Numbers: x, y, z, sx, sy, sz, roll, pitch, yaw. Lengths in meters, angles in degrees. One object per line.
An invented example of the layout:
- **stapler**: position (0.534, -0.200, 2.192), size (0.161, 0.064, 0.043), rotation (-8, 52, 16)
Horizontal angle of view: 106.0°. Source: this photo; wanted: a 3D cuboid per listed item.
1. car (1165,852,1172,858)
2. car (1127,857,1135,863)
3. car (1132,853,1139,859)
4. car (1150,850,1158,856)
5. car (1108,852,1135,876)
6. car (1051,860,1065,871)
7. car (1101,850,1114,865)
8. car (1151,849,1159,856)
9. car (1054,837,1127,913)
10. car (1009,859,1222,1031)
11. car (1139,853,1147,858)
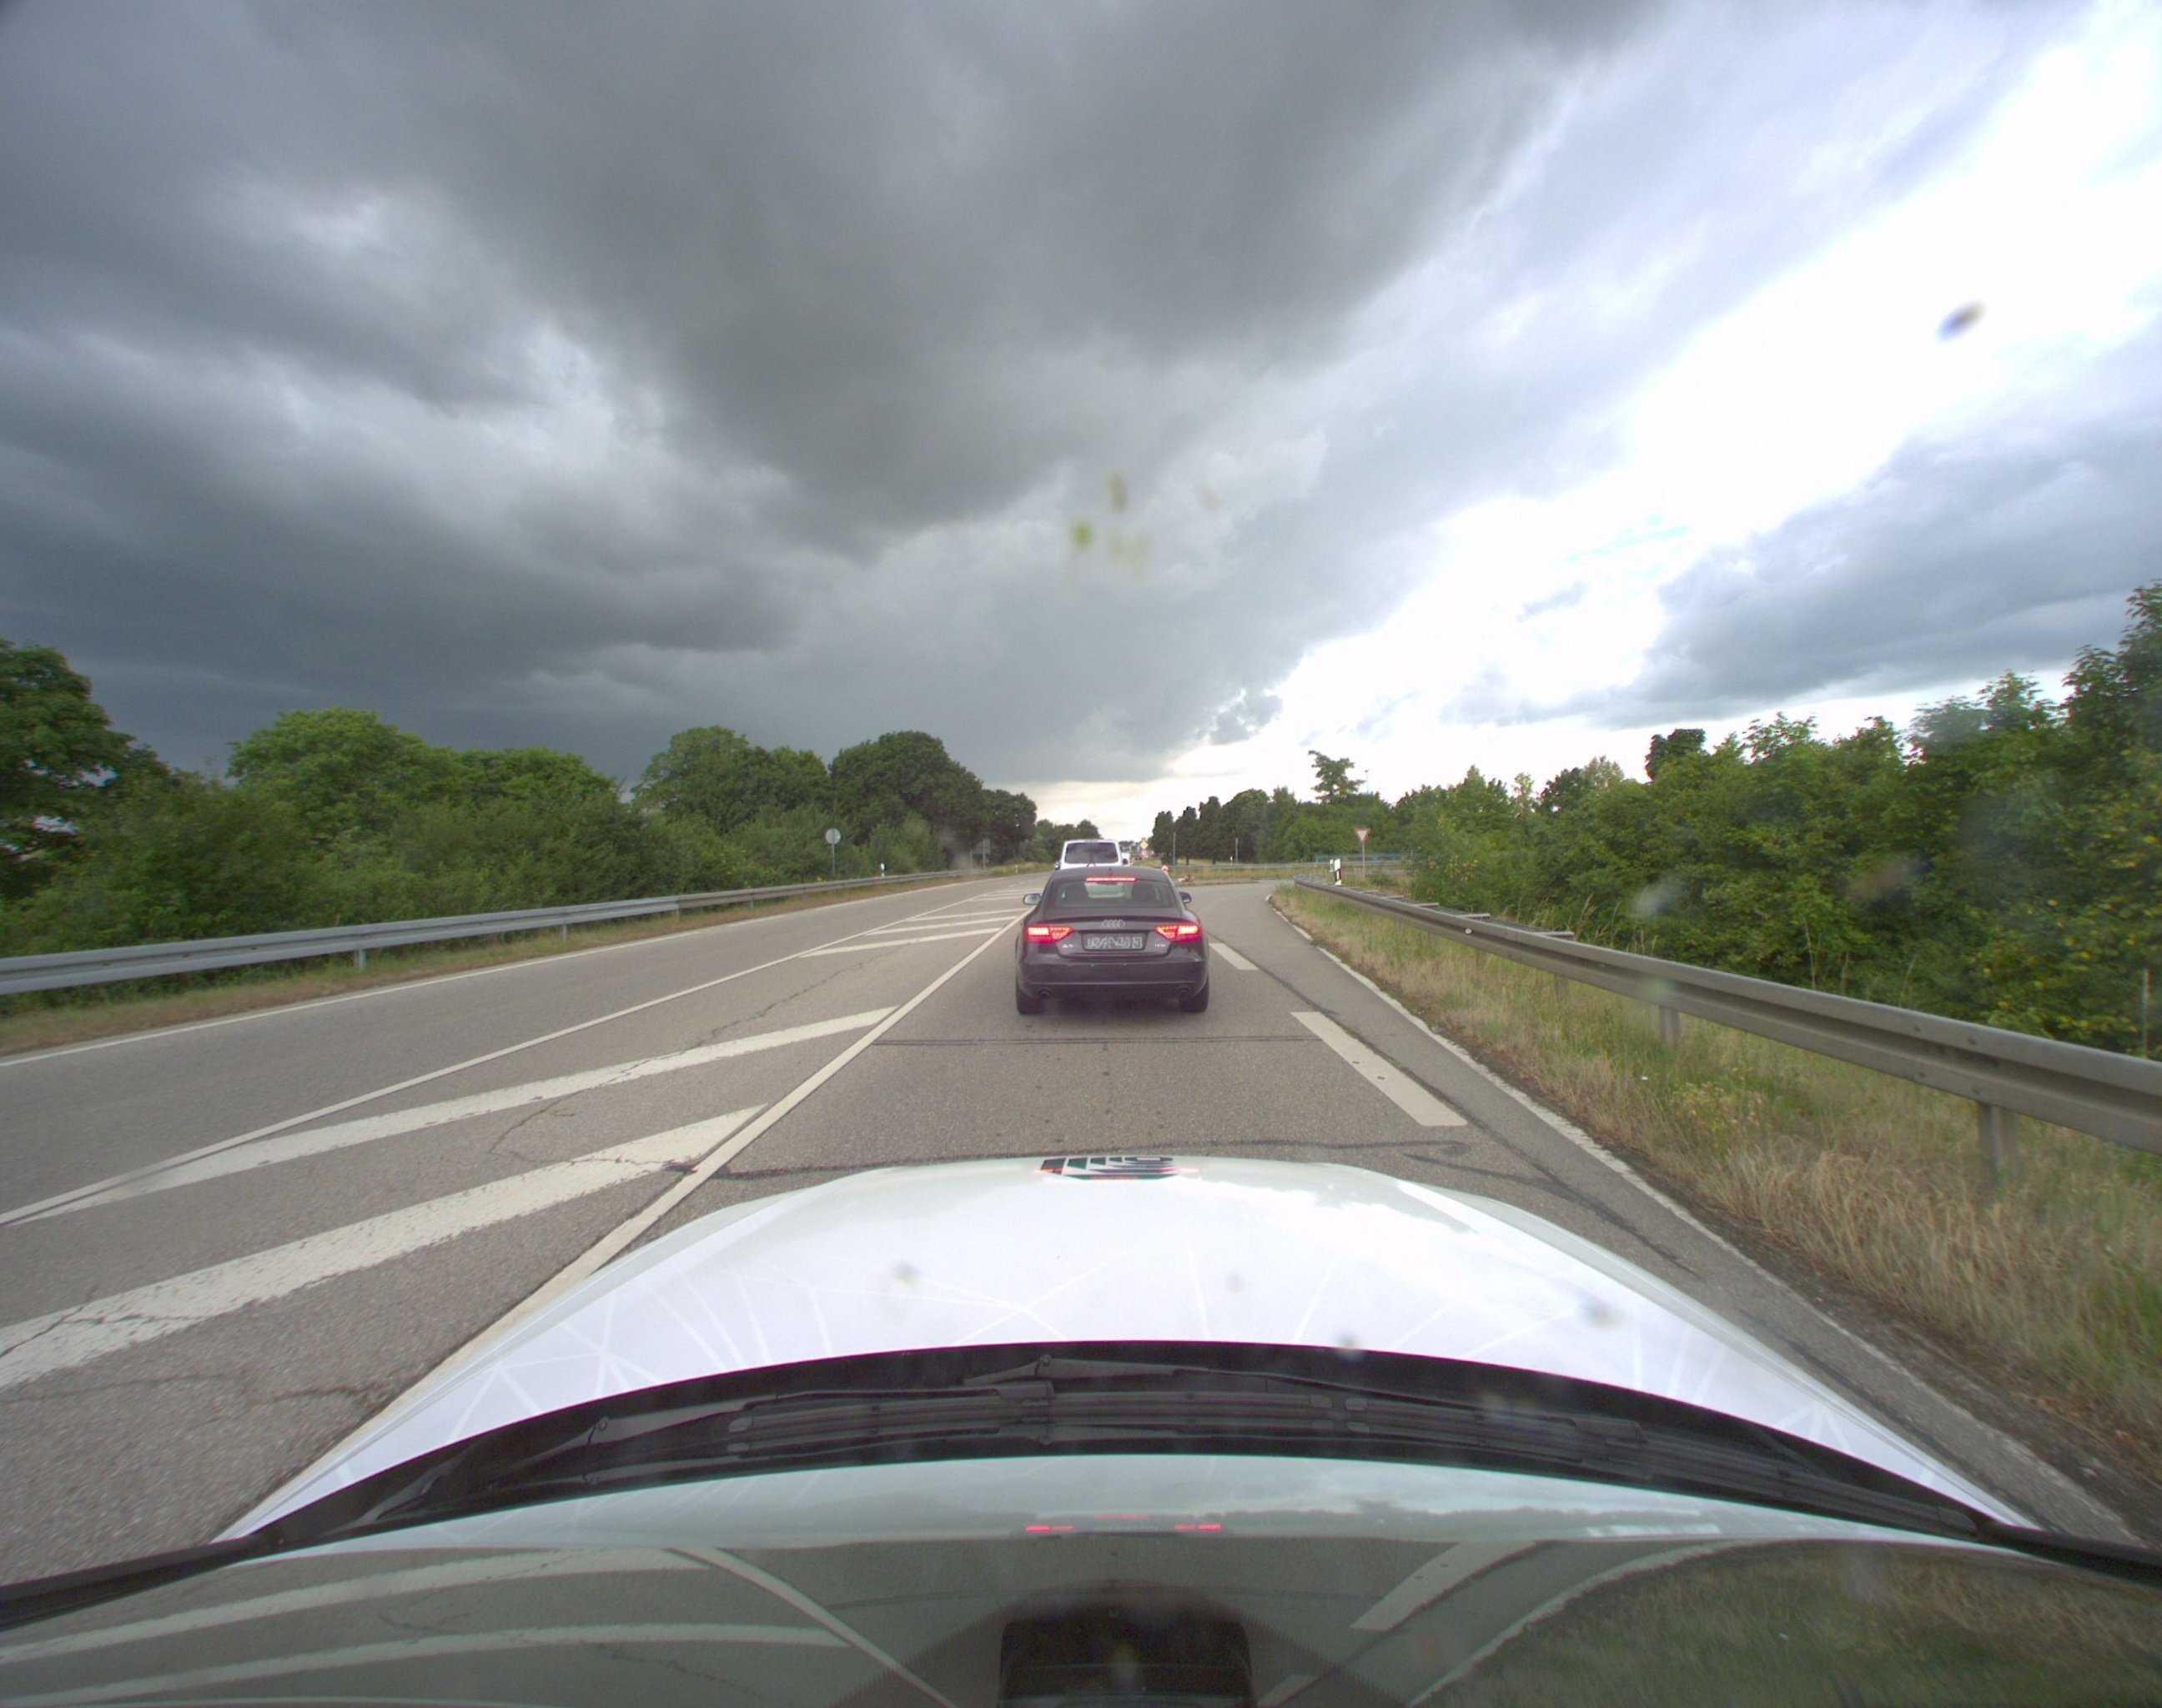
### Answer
- **car**: position (24.675, 0.340, 230.598), size (1.865, 1.692, 4.008), rotation (0, 0, 7)
- **car**: position (11.150, 1.324, 181.051), size (1.513, 1.399, 3.191), rotation (-1, -2, 9)
- **car**: position (15.864, 0.634, 236.356), size (1.985, 1.692, 4.004), rotation (0, 0, 3)
- **car**: position (21.292, -0.311, 237.671), size (1.985, 1.692, 4.004), rotation (0, 0, 3)
- **car**: position (3.590, 0.846, 73.051), size (2.074, 2.064, 4.875), rotation (0, 0, 0)
- **car**: position (-3.156, 1.600, 112.876), size (1.791, 1.398, 3.485), rotation (0, 0, 2)
- **car**: position (4.299, 0.580, 131.203), size (1.985, 2.408, 4.003), rotation (1, 0, 2)
- **car**: position (19.746, -0.450, 218.710), size (1.985, 2.013, 4.004), rotation (0, 0, 3)
- **car**: position (0.291, 0.543, 23.511), size (1.904, 2.013, 4.001), rotation (0, 0, 1)
- **car**: position (0.307, 0.777, 8.535), size (1.774, 1.398, 3.336), rotation (-1, 0, 0)
- **car**: position (19.599, 0.390, 258.350), size (2.198, 1.582, 4.379), rotation (0, 0, 1)
